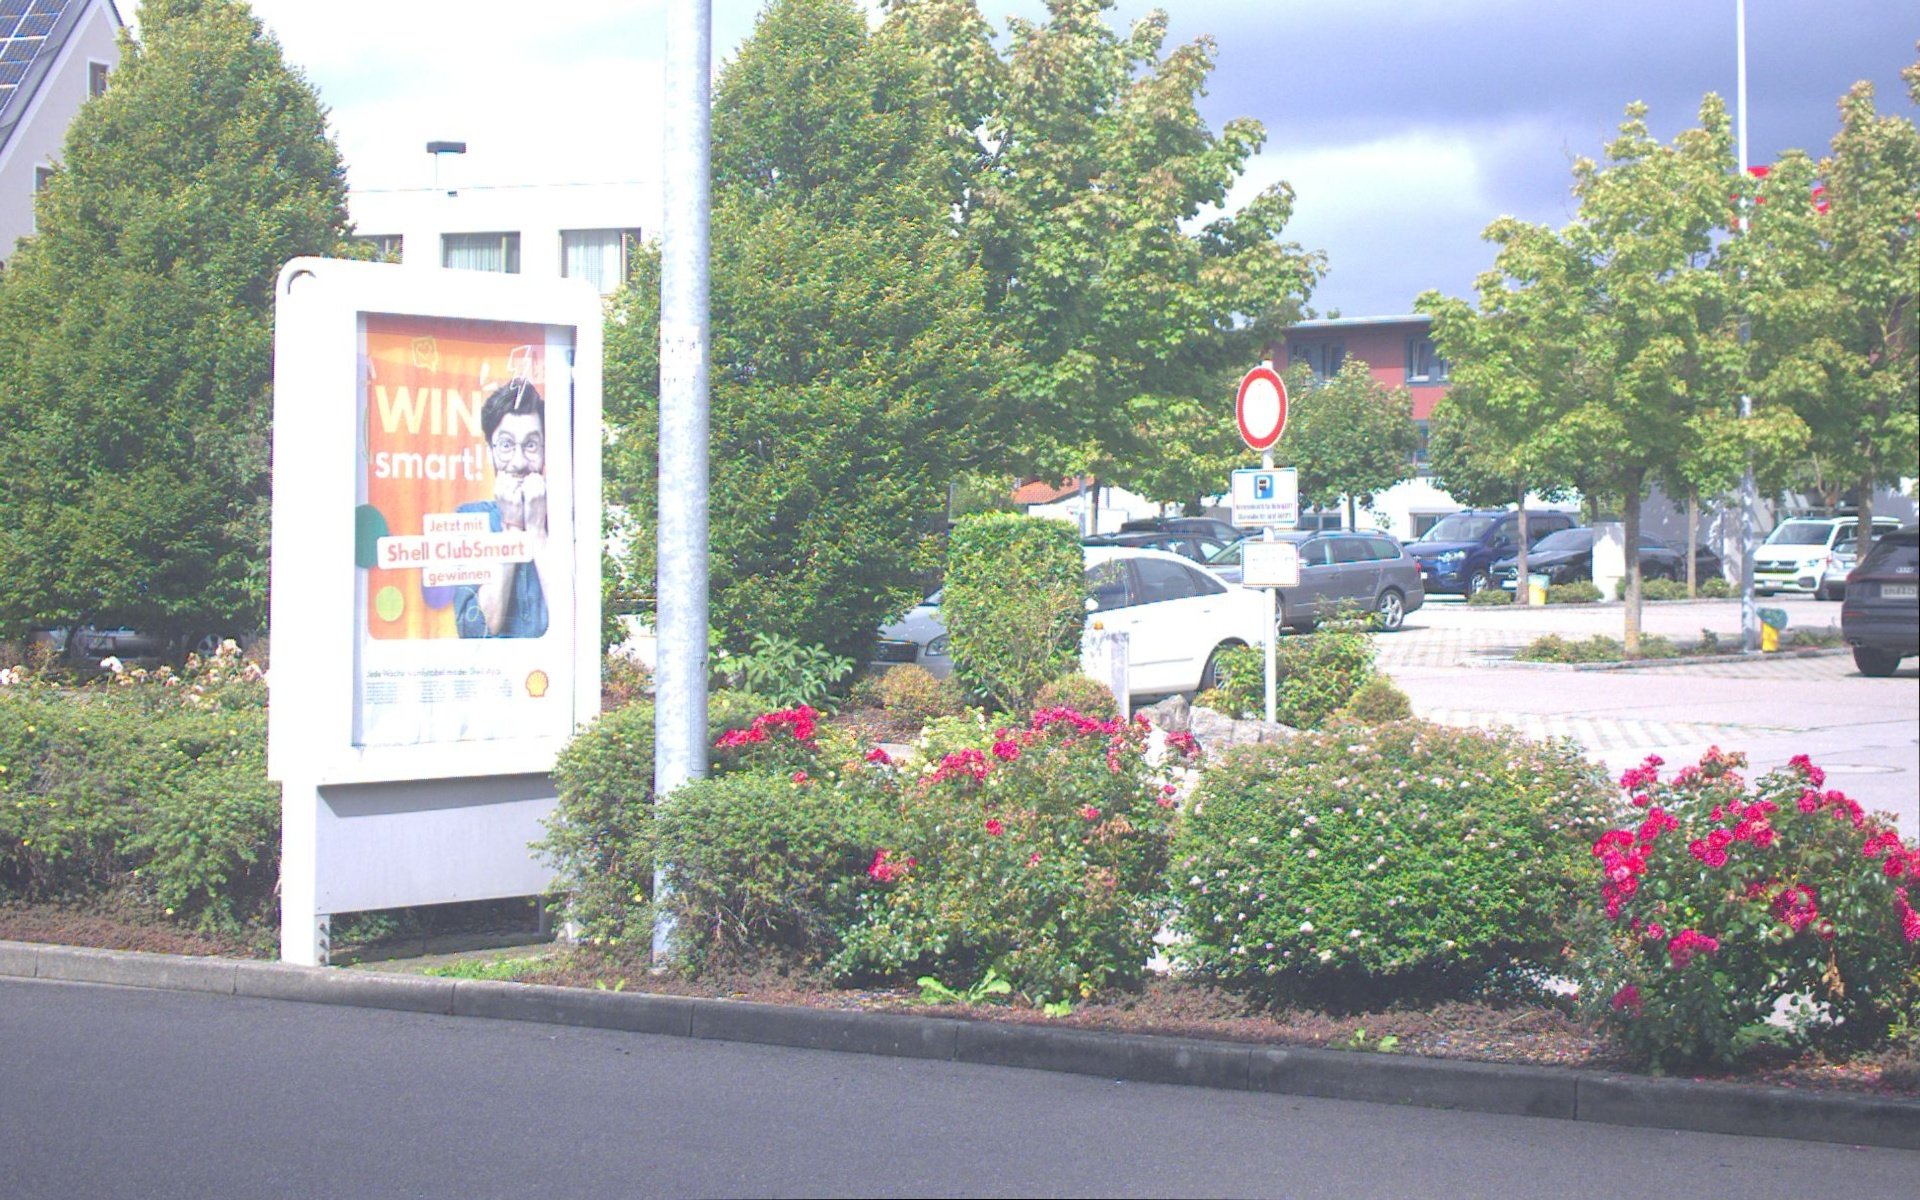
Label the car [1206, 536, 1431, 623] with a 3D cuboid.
[{"bbox_3d":[5.205,-0.292,49.720,3.218,1.224,1.505,0,1,-44],"label":"car"}]

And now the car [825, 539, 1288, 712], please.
[{"bbox_3d":[0.908,0.202,29.931,4.332,1.399,1.370,0,1,-44],"label":"car"}]

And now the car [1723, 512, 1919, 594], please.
[{"bbox_3d":[20.249,-1.091,80.646,4.864,1.827,2.184,0,1,-43],"label":"car"}]

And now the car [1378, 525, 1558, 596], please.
[{"bbox_3d":[9.888,-0.762,66.788,3.379,1.316,1.747,0,1,-44],"label":"car"}]

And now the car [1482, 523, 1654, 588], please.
[{"bbox_3d":[11.517,-0.843,65.040,3.409,1.174,1.485,0,1,-44],"label":"car"}]

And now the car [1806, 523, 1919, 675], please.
[{"bbox_3d":[11.136,-0.009,36.734,4.491,1.543,1.885,0,1,-43],"label":"car"}]
